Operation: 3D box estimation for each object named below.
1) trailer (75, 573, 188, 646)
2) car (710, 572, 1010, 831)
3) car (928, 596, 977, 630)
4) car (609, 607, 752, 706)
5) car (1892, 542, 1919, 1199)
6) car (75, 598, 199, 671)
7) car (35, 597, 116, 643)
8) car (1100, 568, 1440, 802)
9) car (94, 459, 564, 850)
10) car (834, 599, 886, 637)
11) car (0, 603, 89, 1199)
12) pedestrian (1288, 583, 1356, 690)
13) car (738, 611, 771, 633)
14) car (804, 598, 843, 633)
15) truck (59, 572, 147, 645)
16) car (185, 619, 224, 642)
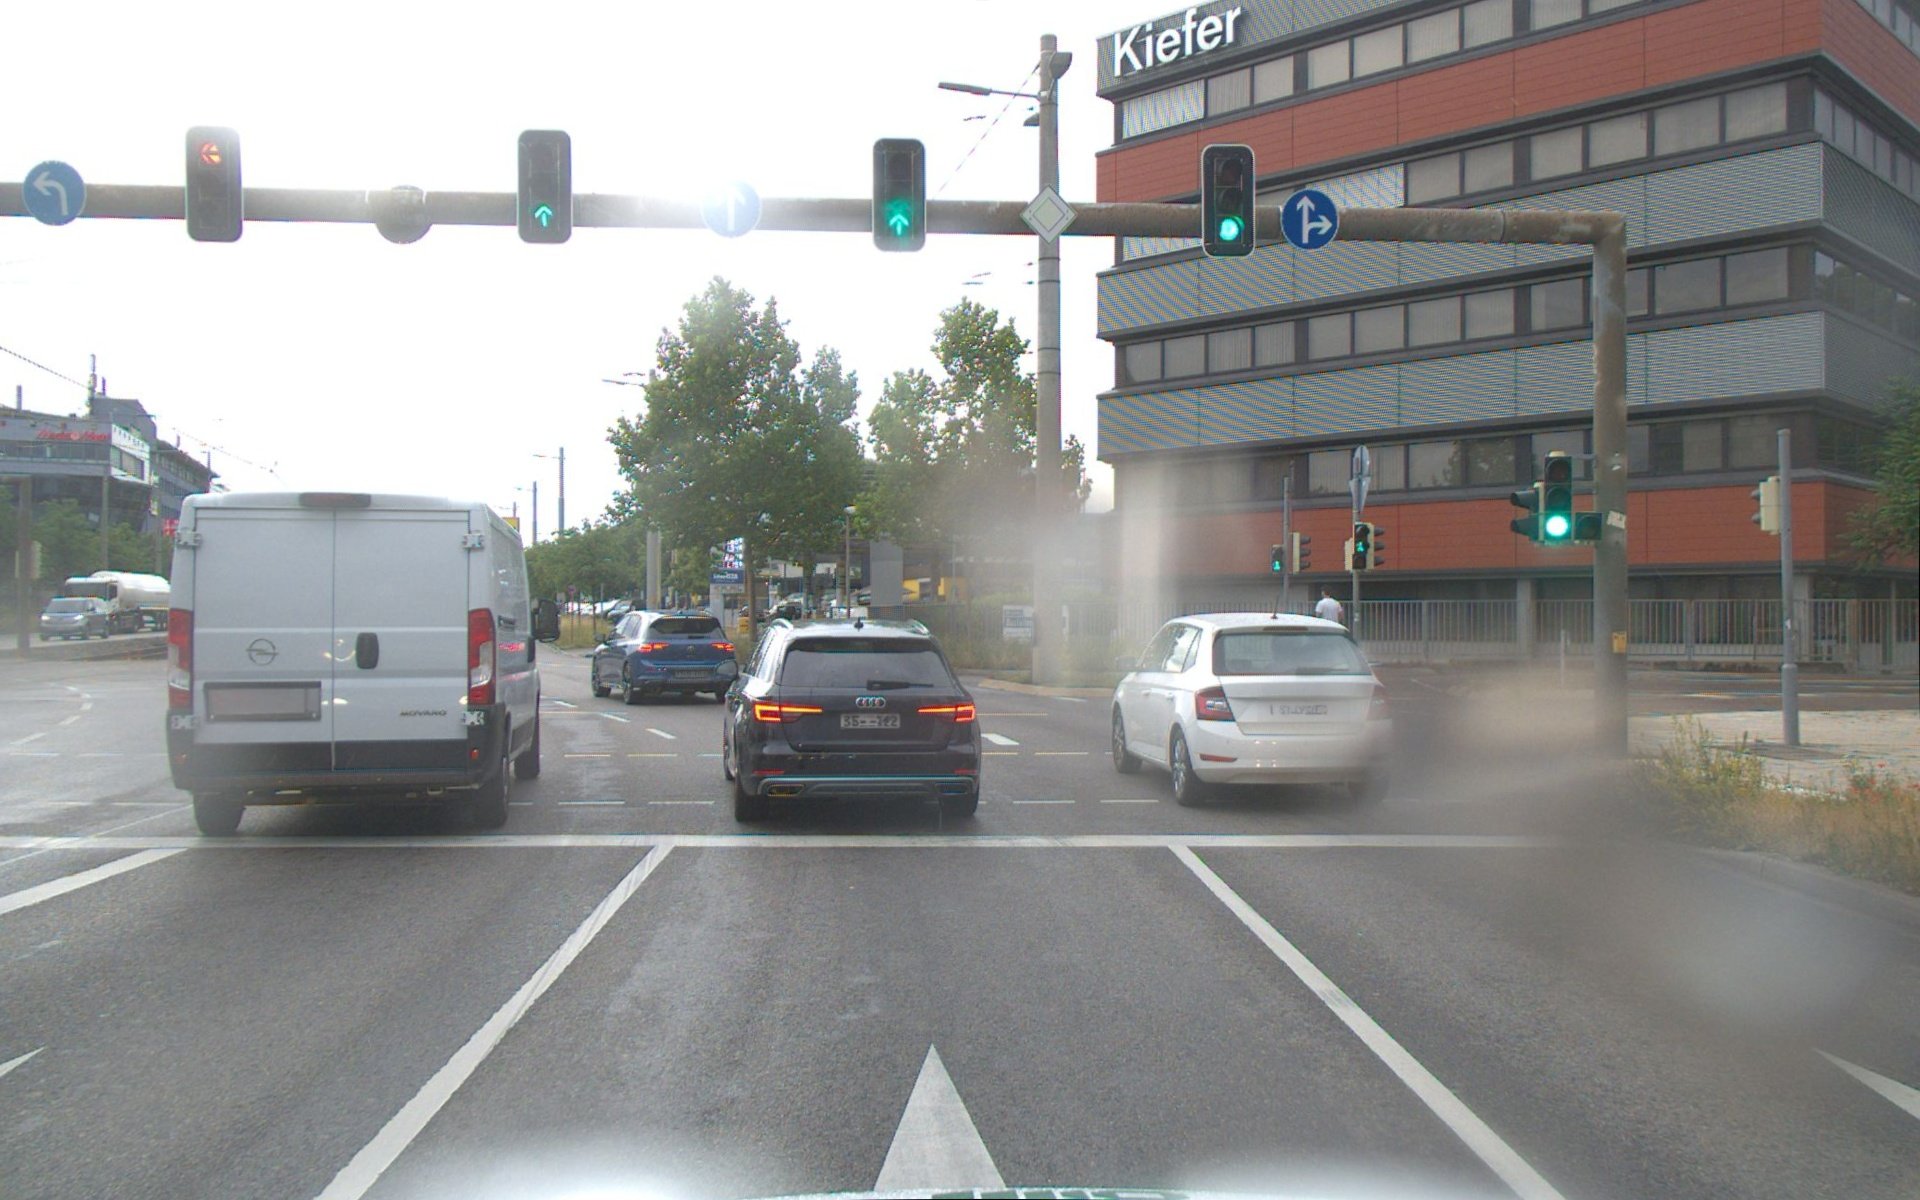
[{"bbox_3d":[-48.046,0.637,96.288,2.675,3.922,11.202,-1,-1,-10],"label":"trailer"},{"bbox_3d":[-0.846,0.695,12.886,1.955,1.666,3.995,-1,-1,-6],"label":"car"},{"bbox_3d":[-0.523,0.862,105.123,1.844,2.049,3.749,3,-2,-21],"label":"car"},{"bbox_3d":[-4.656,0.907,27.146,1.864,1.491,3.891,1,-2,-17],"label":"car"},{"bbox_3d":[3.280,0.687,2.004,1.730,1.658,4.323,2,-1,-2],"label":"car"},{"bbox_3d":[-24.987,1.014,50.386,1.738,2.049,4.344,2,-1,-4],"label":"car"},{"bbox_3d":[-40.679,0.872,76.166,1.959,1.869,4.893,3,0,-13],"label":"car"},{"bbox_3d":[2.446,0.678,14.063,1.793,1.685,3.995,1,-2,-6],"label":"car"},{"bbox_3d":[-4.398,0.386,12.518,2.401,2.334,4.892,1,-1,-10],"label":"car"},{"bbox_3d":[-5.639,0.983,92.844,1.962,2.068,3.980,0,-1,-18],"label":"car"},{"bbox_3d":[-3.017,0.671,1.985,1.660,1.494,4.401,2,-2,-2],"label":"car"},{"bbox_3d":[7.490,0.740,34.259,1.120,2.163,1.222,-1,1,-1],"label":"pedestrian"},{"bbox_3d":[-15.428,1.637,123.969,1.764,1.619,3.979,0,-1,-18],"label":"car"},{"bbox_3d":[-8.408,0.969,101.669,1.652,2.049,3.525,3,-2,-16],"label":"car"},{"bbox_3d":[-47.200,0.506,91.277,2.695,3.872,5.399,-1,-1,-9],"label":"truck"},{"bbox_3d":[-51.800,2.074,113.467,2.128,1.532,4.274,0,-1,-21],"label":"car"}]
